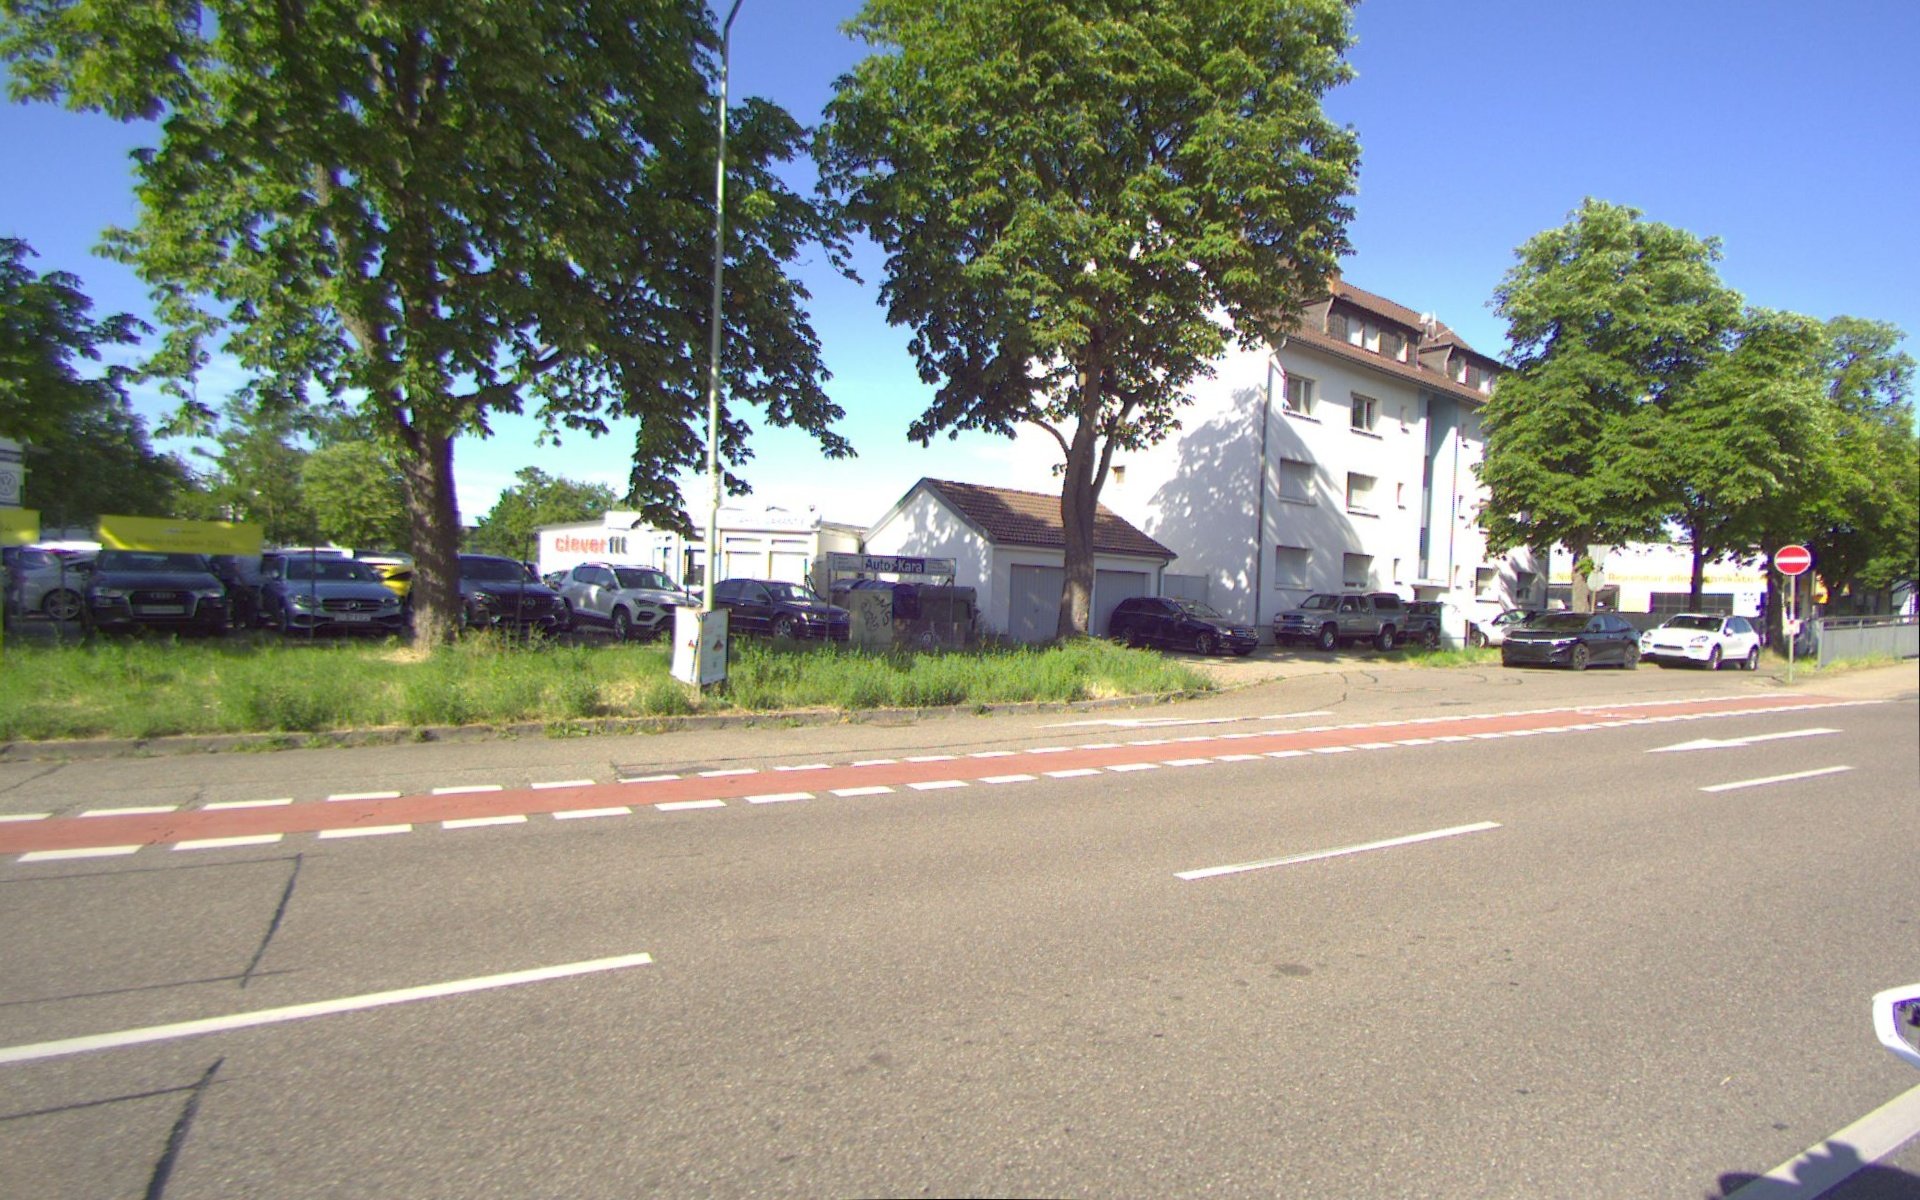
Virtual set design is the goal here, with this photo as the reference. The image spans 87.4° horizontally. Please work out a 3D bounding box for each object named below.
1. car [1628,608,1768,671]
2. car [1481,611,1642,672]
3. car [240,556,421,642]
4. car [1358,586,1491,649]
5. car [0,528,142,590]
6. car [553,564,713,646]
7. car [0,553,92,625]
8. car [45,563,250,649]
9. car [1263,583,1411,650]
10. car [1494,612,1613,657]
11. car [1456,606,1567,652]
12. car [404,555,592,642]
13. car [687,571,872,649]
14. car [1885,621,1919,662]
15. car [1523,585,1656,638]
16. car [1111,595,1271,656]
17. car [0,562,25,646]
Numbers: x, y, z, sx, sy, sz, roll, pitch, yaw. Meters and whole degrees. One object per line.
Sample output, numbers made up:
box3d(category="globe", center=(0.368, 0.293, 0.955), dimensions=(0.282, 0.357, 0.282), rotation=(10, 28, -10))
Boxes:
box3d(category="car", center=(23.432, 1.215, 31.811), dimensions=(5.185, 1.752, 2.023), rotation=(2, 1, -36))
box3d(category="car", center=(16.609, 1.105, 27.656), dimensions=(4.914, 1.483, 2.023), rotation=(2, 1, -36))
box3d(category="car", center=(-11.900, -0.067, 18.897), dimensions=(3.824, 1.432, 1.936), rotation=(3, 2, 42))
box3d(category="car", center=(15.971, 0.608, 34.449), dimensions=(4.741, 1.956, 2.055), rotation=(2, 1, -36))
box3d(category="car", center=(-31.999, -1.441, 35.792), dimensions=(3.935, 2.041, 1.993), rotation=(1, 1, -17))
box3d(category="car", center=(-7.275, 0.055, 22.138), dimensions=(1.908, 1.632, 3.949), rotation=(0, 2, -42))
box3d(category="car", center=(-21.724, -0.277, 22.946), dimensions=(1.809, 1.526, 3.974), rotation=(2, 0, -25))
box3d(category="car", center=(-13.842, 0.046, 17.059), dimensions=(3.873, 1.257, 2.034), rotation=(2, 1, 40))
box3d(category="car", center=(11.874, 0.528, 31.503), dimensions=(5.051, 1.956, 1.736), rotation=(2, 1, -35))
box3d(category="car", center=(23.395, 1.321, 39.622), dimensions=(3.932, 1.619, 1.994), rotation=(1, 1, 34))
box3d(category="car", center=(20.918, 1.063, 38.221), dimensions=(3.602, 1.530, 1.782), rotation=(2, 1, 28))
box3d(category="car", center=(-9.419, -0.080, 20.386), dimensions=(3.940, 1.581, 1.990), rotation=(2, 1, 40))
box3d(category="car", center=(-4.232, 0.170, 23.255), dimensions=(4.340, 1.596, 1.806), rotation=(2, 1, 39))
box3d(category="car", center=(51.139, 2.183, 53.383), dimensions=(4.211, 2.018, 1.912), rotation=(1, 1, -33))
box3d(category="car", center=(33.518, 0.593, 53.588), dimensions=(5.777, 2.596, 2.136), rotation=(1, 0, -3))
box3d(category="car", center=(6.252, 0.659, 27.502), dimensions=(1.892, 1.448, 3.955), rotation=(1, 1, -39))
box3d(category="car", center=(-16.362, 0.001, 15.773), dimensions=(3.873, 1.257, 2.034), rotation=(2, 1, 40))
